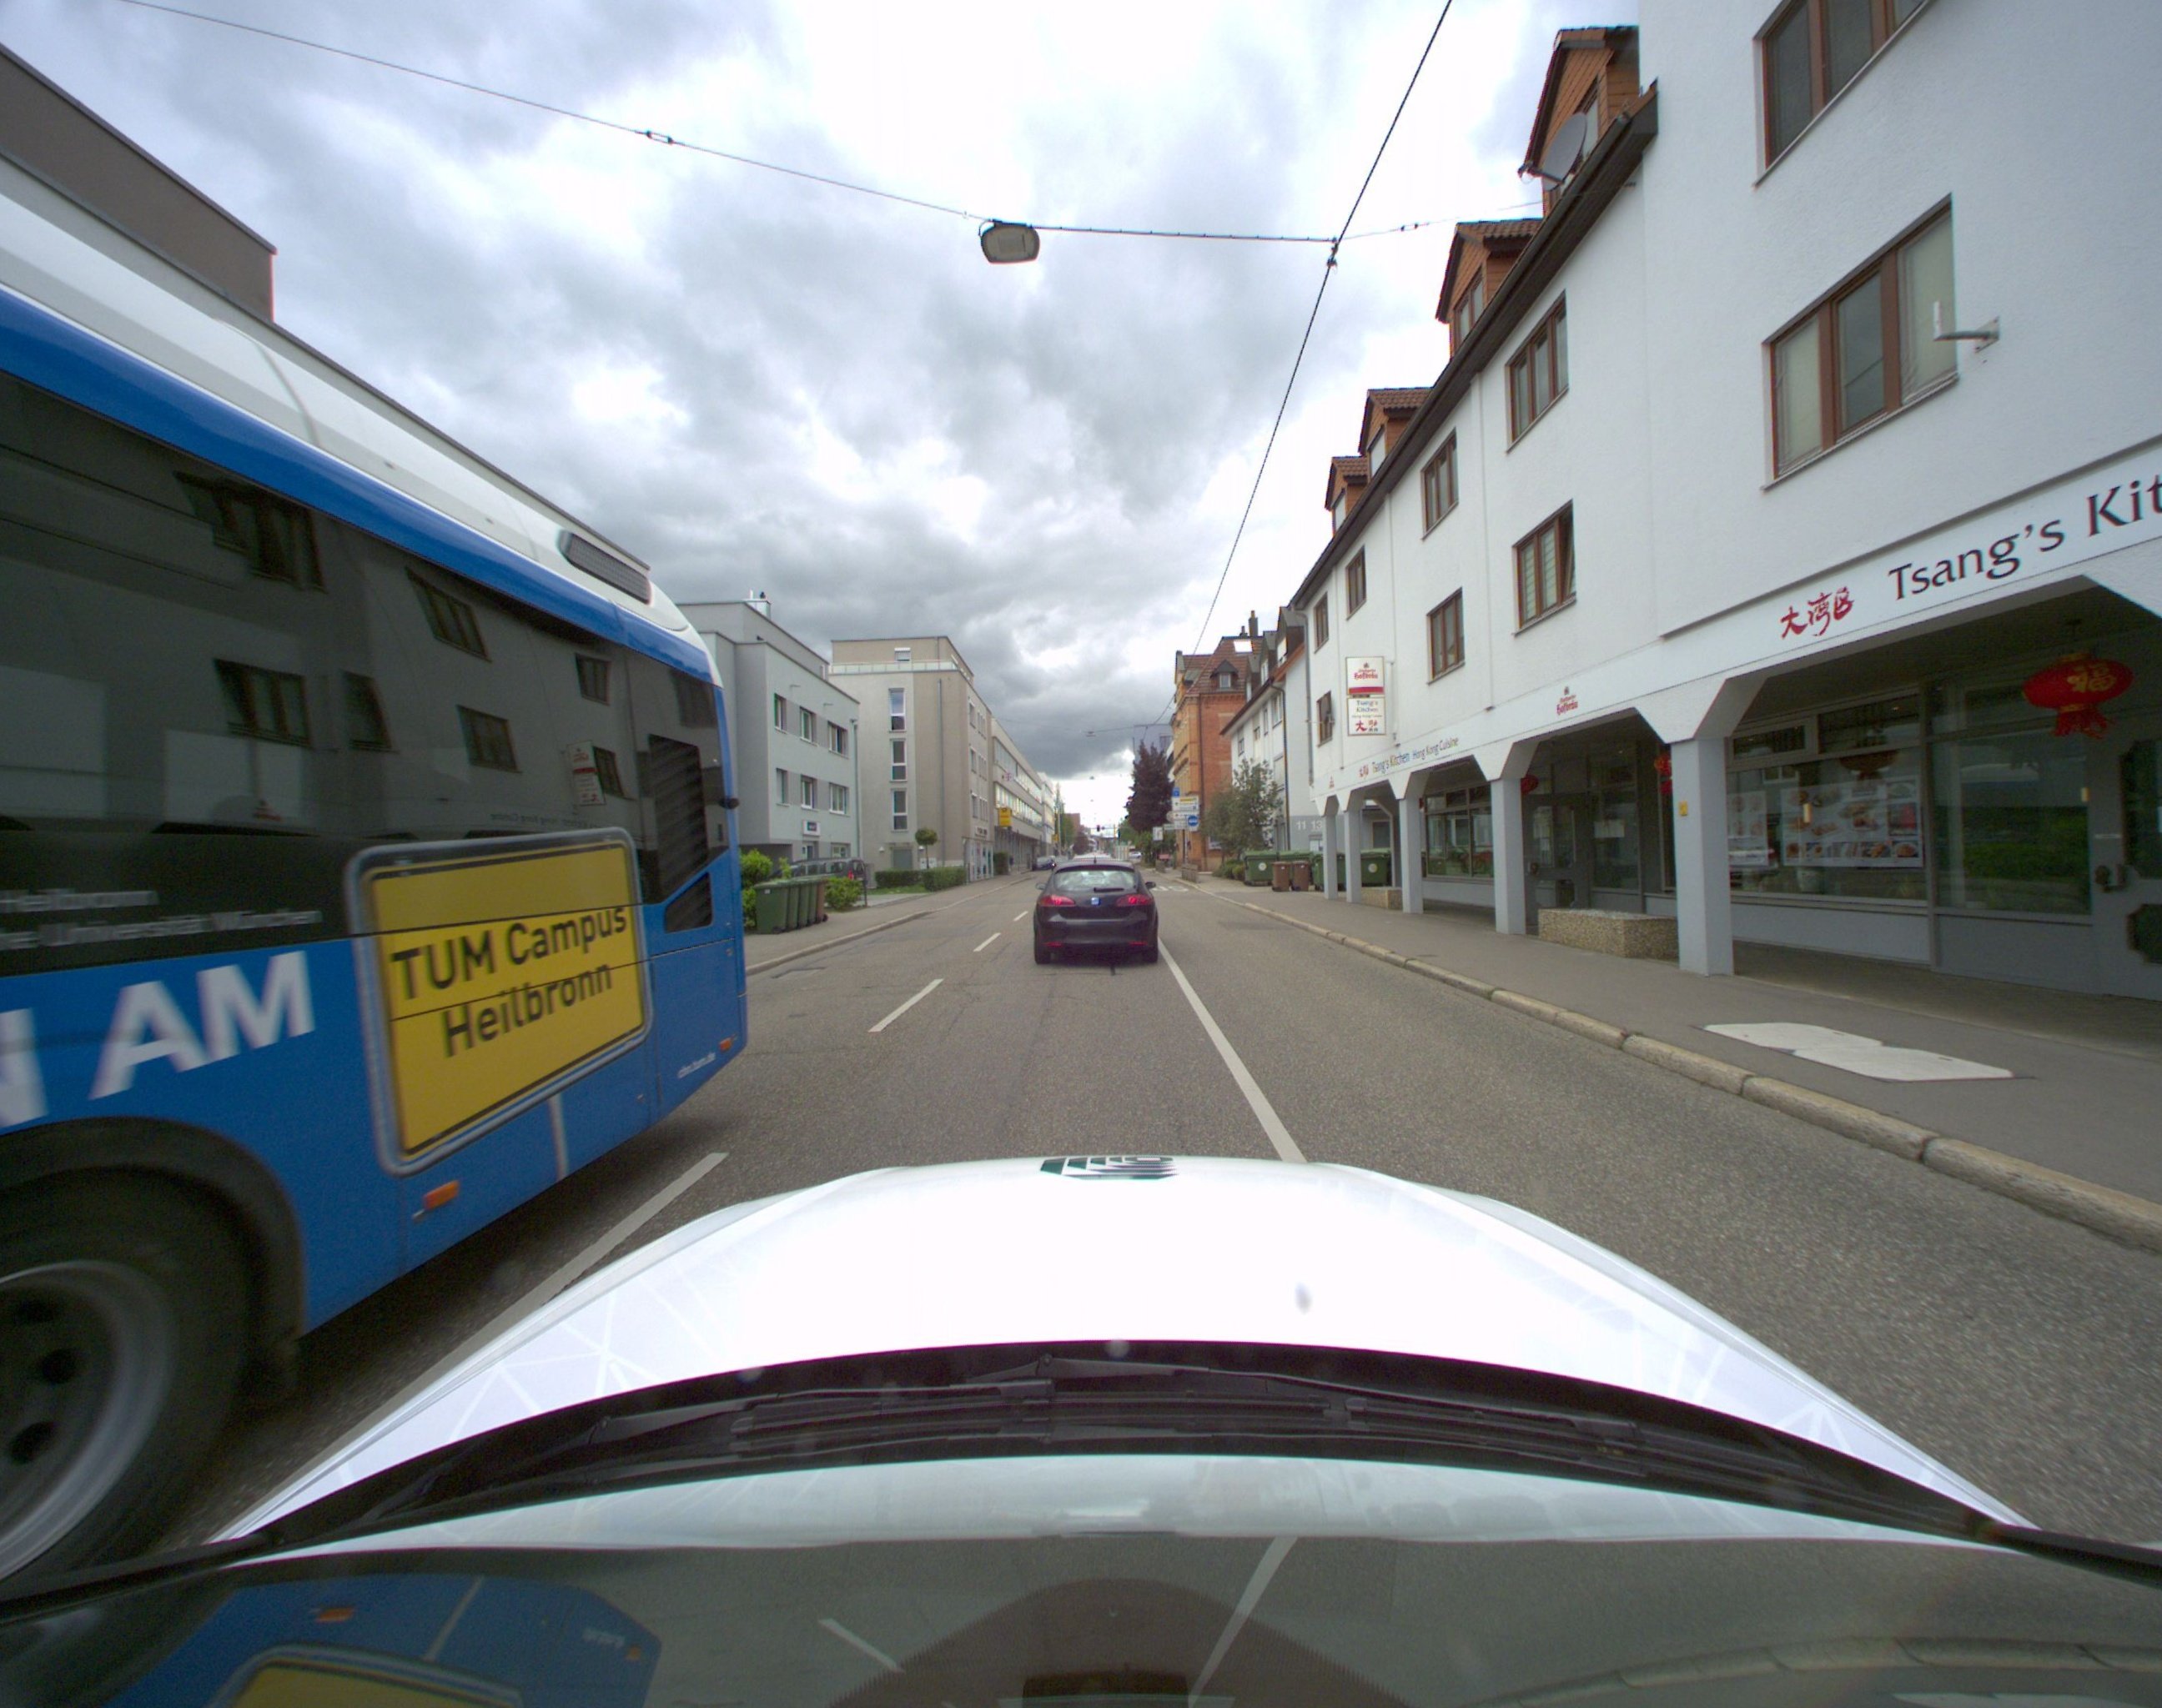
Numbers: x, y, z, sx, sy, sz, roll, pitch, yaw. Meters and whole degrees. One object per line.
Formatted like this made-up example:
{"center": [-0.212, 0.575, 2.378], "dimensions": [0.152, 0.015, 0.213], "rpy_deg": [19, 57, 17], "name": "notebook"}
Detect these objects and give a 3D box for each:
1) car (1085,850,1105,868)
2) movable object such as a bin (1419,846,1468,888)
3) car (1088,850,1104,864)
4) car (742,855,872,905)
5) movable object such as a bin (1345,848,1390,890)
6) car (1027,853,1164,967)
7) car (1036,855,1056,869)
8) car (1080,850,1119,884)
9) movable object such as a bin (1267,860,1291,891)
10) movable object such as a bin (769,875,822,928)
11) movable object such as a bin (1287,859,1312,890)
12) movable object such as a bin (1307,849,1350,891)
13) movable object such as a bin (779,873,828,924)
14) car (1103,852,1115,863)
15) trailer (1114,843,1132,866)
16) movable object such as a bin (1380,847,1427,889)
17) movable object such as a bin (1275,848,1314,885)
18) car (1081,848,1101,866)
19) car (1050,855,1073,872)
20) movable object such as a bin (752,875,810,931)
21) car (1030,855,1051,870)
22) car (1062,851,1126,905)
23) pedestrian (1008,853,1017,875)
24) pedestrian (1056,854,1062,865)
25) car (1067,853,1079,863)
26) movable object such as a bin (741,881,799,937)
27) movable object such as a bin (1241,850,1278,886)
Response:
{"center": [1.267, 0.468, 73.827], "dimensions": [1.797, 1.601, 3.738], "rpy_deg": [-1, 0, 1], "name": "car"}
{"center": [12.808, 0.449, 28.798], "dimensions": [1.204, 1.417, 1.261], "rpy_deg": [-2, 0, 5], "name": "movable object such as a bin"}
{"center": [1.777, 0.320, 96.134], "dimensions": [1.797, 1.601, 3.738], "rpy_deg": [-1, 0, 1], "name": "car"}
{"center": [-10.095, 0.932, 30.172], "dimensions": [4.144, 1.667, 1.727], "rpy_deg": [-2, -1, 4], "name": "car"}
{"center": [10.172, 0.513, 28.967], "dimensions": [1.204, 1.417, 1.261], "rpy_deg": [-2, 0, 5], "name": "movable object such as a bin"}
{"center": [0.243, 0.729, 12.563], "dimensions": [1.759, 1.433, 3.829], "rpy_deg": [-2, 0, 1], "name": "car"}
{"center": [-3.940, 0.880, 91.867], "dimensions": [1.987, 1.517, 4.175], "rpy_deg": [-2, 0, 1], "name": "car"}
{"center": [0.925, 0.612, 40.863], "dimensions": [1.797, 1.553, 3.738], "rpy_deg": [-2, 0, 1], "name": "car"}
{"center": [7.157, 0.767, 29.411], "dimensions": [0.680, 1.067, 0.973], "rpy_deg": [-2, 0, 5], "name": "movable object such as a bin"}
{"center": [-6.577, 1.080, 18.771], "dimensions": [0.946, 1.151, 0.748], "rpy_deg": [-2, 0, -3], "name": "movable object such as a bin"}
{"center": [7.882, 0.732, 29.372], "dimensions": [0.694, 1.079, 0.973], "rpy_deg": [-2, 0, 5], "name": "movable object such as a bin"}
{"center": [8.814, 0.550, 29.007], "dimensions": [1.204, 1.417, 1.261], "rpy_deg": [-2, 0, 5], "name": "movable object such as a bin"}
{"center": [-6.620, 1.047, 19.469], "dimensions": [0.938, 1.151, 0.612], "rpy_deg": [-2, 0, -3], "name": "movable object such as a bin"}
{"center": [4.197, 0.528, 122.468], "dimensions": [1.797, 1.601, 3.738], "rpy_deg": [-1, 0, 1], "name": "car"}
{"center": [4.996, 0.091, 97.597], "dimensions": [1.987, 2.607, 5.350], "rpy_deg": [-2, 0, 1], "name": "trailer"}
{"center": [11.423, 0.481, 28.913], "dimensions": [1.204, 1.417, 1.261], "rpy_deg": [-2, 0, 5], "name": "movable object such as a bin"}
{"center": [8.628, 0.490, 32.966], "dimensions": [1.262, 1.435, 1.308], "rpy_deg": [-2, 0, 2], "name": "movable object such as a bin"}
{"center": [0.915, 0.229, 73.763], "dimensions": [1.797, 1.553, 3.738], "rpy_deg": [-2, 0, 1], "name": "car"}
{"center": [-1.849, 0.924, 78.122], "dimensions": [1.872, 1.451, 4.215], "rpy_deg": [-4, 0, 1], "name": "car"}
{"center": [-6.587, 1.058, 17.933], "dimensions": [0.954, 1.151, 0.839], "rpy_deg": [-2, 0, -3], "name": "movable object such as a bin"}
{"center": [-4.259, 0.885, 85.901], "dimensions": [1.906, 1.517, 4.175], "rpy_deg": [-3, 0, 1], "name": "car"}
{"center": [0.403, 0.695, 25.255], "dimensions": [1.797, 1.492, 3.738], "rpy_deg": [-2, 0, 1], "name": "car"}
{"center": [-5.640, 0.780, 66.713], "dimensions": [0.641, 1.769, 0.809], "rpy_deg": [-1, 0, -1], "name": "pedestrian"}
{"center": [-3.674, 0.930, 135.249], "dimensions": [0.915, 1.869, 0.783], "rpy_deg": [-2, 0, 0], "name": "pedestrian"}
{"center": [-1.490, 0.757, 150.051], "dimensions": [1.987, 1.738, 4.554], "rpy_deg": [-4, 0, 1], "name": "car"}
{"center": [-6.502, 1.137, 17.059], "dimensions": [0.892, 1.089, 0.792], "rpy_deg": [-2, 0, -3], "name": "movable object such as a bin"}
{"center": [7.290, 0.548, 33.333], "dimensions": [1.262, 1.417, 1.163], "rpy_deg": [-2, 0, 2], "name": "movable object such as a bin"}
